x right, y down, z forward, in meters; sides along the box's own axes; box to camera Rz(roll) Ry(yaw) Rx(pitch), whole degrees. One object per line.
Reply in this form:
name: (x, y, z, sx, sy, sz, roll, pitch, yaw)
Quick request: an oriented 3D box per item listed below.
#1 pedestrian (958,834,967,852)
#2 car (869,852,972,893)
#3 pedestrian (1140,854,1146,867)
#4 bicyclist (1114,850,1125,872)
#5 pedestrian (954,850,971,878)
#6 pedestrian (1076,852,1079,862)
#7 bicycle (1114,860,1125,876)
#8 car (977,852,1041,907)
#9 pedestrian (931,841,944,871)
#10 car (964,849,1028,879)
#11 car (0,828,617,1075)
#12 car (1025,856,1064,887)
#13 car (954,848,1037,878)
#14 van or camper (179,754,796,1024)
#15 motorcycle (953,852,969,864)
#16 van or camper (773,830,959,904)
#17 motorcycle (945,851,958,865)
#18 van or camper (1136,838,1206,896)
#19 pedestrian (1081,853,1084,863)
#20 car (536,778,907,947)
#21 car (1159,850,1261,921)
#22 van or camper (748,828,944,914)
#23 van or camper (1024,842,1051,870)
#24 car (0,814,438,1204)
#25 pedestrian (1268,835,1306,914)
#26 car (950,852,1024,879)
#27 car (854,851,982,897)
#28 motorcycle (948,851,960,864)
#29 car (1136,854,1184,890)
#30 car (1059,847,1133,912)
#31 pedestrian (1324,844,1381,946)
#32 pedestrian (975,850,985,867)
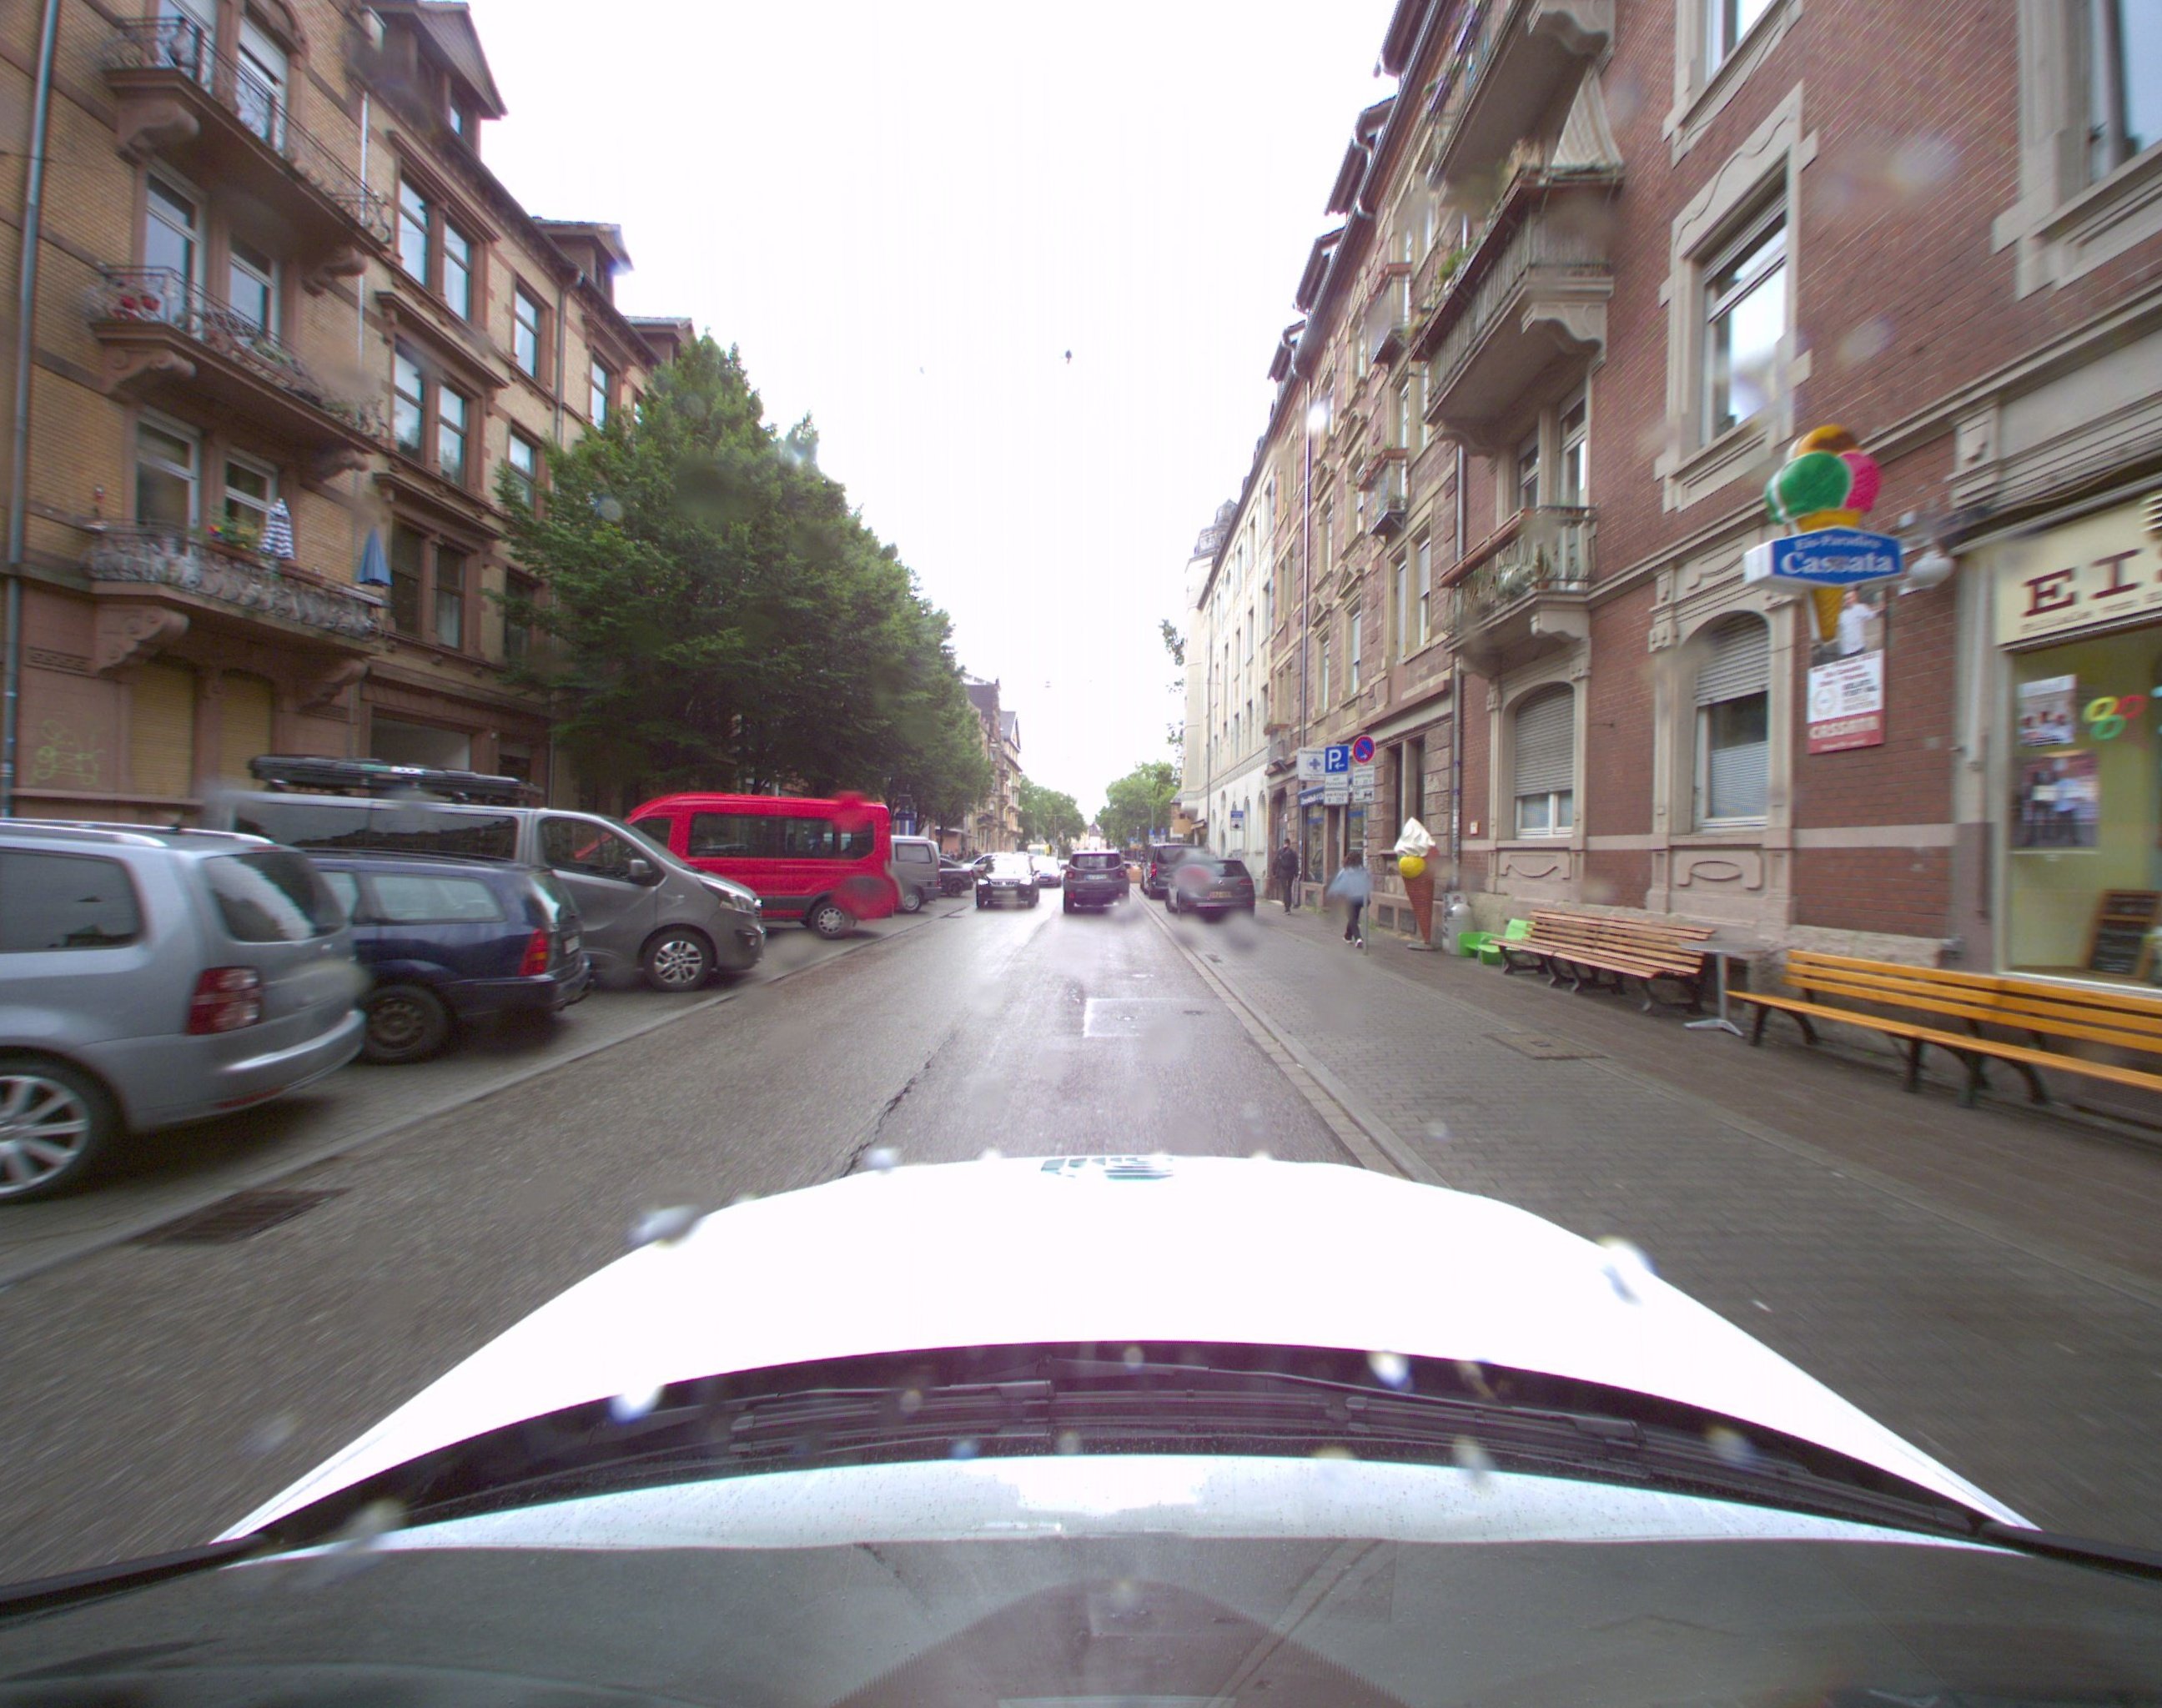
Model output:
pedestrian: (-11.898, -1.091, 81.627, 0.663, 1.757, 0.791, 0, 0, -23)
car: (-6.098, 0.666, 31.132, 3.499, 1.435, 1.632, 0, 0, -42)
pedestrian: (8.083, 0.849, 106.465, 0.688, 1.711, 0.684, 0, 0, 1)
bicyclist: (2.523, 0.427, 53.108, 0.702, 1.403, 1.171, 0, 0, 1)
pedestrian: (-7.667, 0.641, 52.812, 0.820, 1.752, 0.758, 3, 0, 8)
pedestrian: (-0.580, 0.504, 128.616, 0.466, 1.585, 0.752, 0, 0, 0)
bicycle: (2.521, 0.909, 53.105, 0.702, 1.054, 1.813, 0, 0, 1)
car: (-2.157, 0.735, 25.244, 1.665, 1.559, 4.001, 1, 0, -1)
pedestrian: (-8.159, 0.135, 46.327, 0.609, 1.707, 0.433, 1, -2, 1)
car: (-5.020, 0.567, 48.099, 3.398, 1.654, 1.617, 0, 0, -32)
car: (-6.227, 0.650, 6.236, 4.359, 1.504, 1.742, 3, 0, -22)
car: (-1.734, 0.825, 39.810, 1.664, 1.465, 4.003, 0, 0, 0)
car: (-5.354, 0.600, 51.045, 4.540, 1.539, 2.314, 5, -3, -32)
van or camper: (-6.012, 0.329, 9.208, 5.034, 2.349, 2.325, 1, 0, -25)
motorcycle: (-11.470, 0.389, 77.899, 0.748, 1.174, 2.123, 3, 0, 13)
van or camper: (-6.310, 0.396, 24.168, 4.722, 1.953, 2.310, 2, 0, -41)
motorcycle: (-11.721, 0.369, 73.625, 0.750, 1.174, 2.116, 3, 0, 2)
van or camper: (3.121, 0.417, 29.113, 2.014, 1.891, 5.055, -1, 0, 1)
pedestrian: (0.165, 0.650, 129.951, 0.466, 1.585, 0.752, 0, 0, 0)
car: (-6.154, 0.161, 14.489, 5.584, 2.541, 2.210, 1, 0, -27)
car: (2.991, 0.683, 19.671, 1.835, 1.545, 4.003, 0, 0, 0)
van or camper: (-5.922, 0.430, 20.735, 4.464, 1.975, 1.764, 1, 0, -32)
van or camper: (-4.316, 0.260, 81.905, 2.114, 2.531, 6.874, -3, -2, 1)
car: (-6.080, 0.593, 3.783, 4.452, 1.630, 1.829, 3, 0, -25)
pedestrian: (5.185, 0.513, 20.485, 0.672, 1.934, 0.815, -1, -1, 36)
car: (-5.195, 0.620, 45.238, 3.729, 1.452, 1.668, 0, 0, -34)
car: (-5.636, 0.711, 28.435, 3.998, 1.447, 1.747, 2, 0, -39)
motorcycle: (-11.791, 0.344, 75.779, 0.751, 1.174, 2.114, 3, 0, -2)
car: (3.290, 0.731, 34.449, 1.704, 1.400, 3.705, -1, 0, 1)
car: (0.396, 0.659, 23.195, 1.892, 1.671, 4.505, 0, 0, 0)
pedestrian: (4.423, 0.649, 13.304, 0.676, 1.613, 0.810, 0, 0, 1)
pedestrian: (-9.325, 0.380, 75.196, 0.705, 1.551, 0.609, 3, 0, 8)
